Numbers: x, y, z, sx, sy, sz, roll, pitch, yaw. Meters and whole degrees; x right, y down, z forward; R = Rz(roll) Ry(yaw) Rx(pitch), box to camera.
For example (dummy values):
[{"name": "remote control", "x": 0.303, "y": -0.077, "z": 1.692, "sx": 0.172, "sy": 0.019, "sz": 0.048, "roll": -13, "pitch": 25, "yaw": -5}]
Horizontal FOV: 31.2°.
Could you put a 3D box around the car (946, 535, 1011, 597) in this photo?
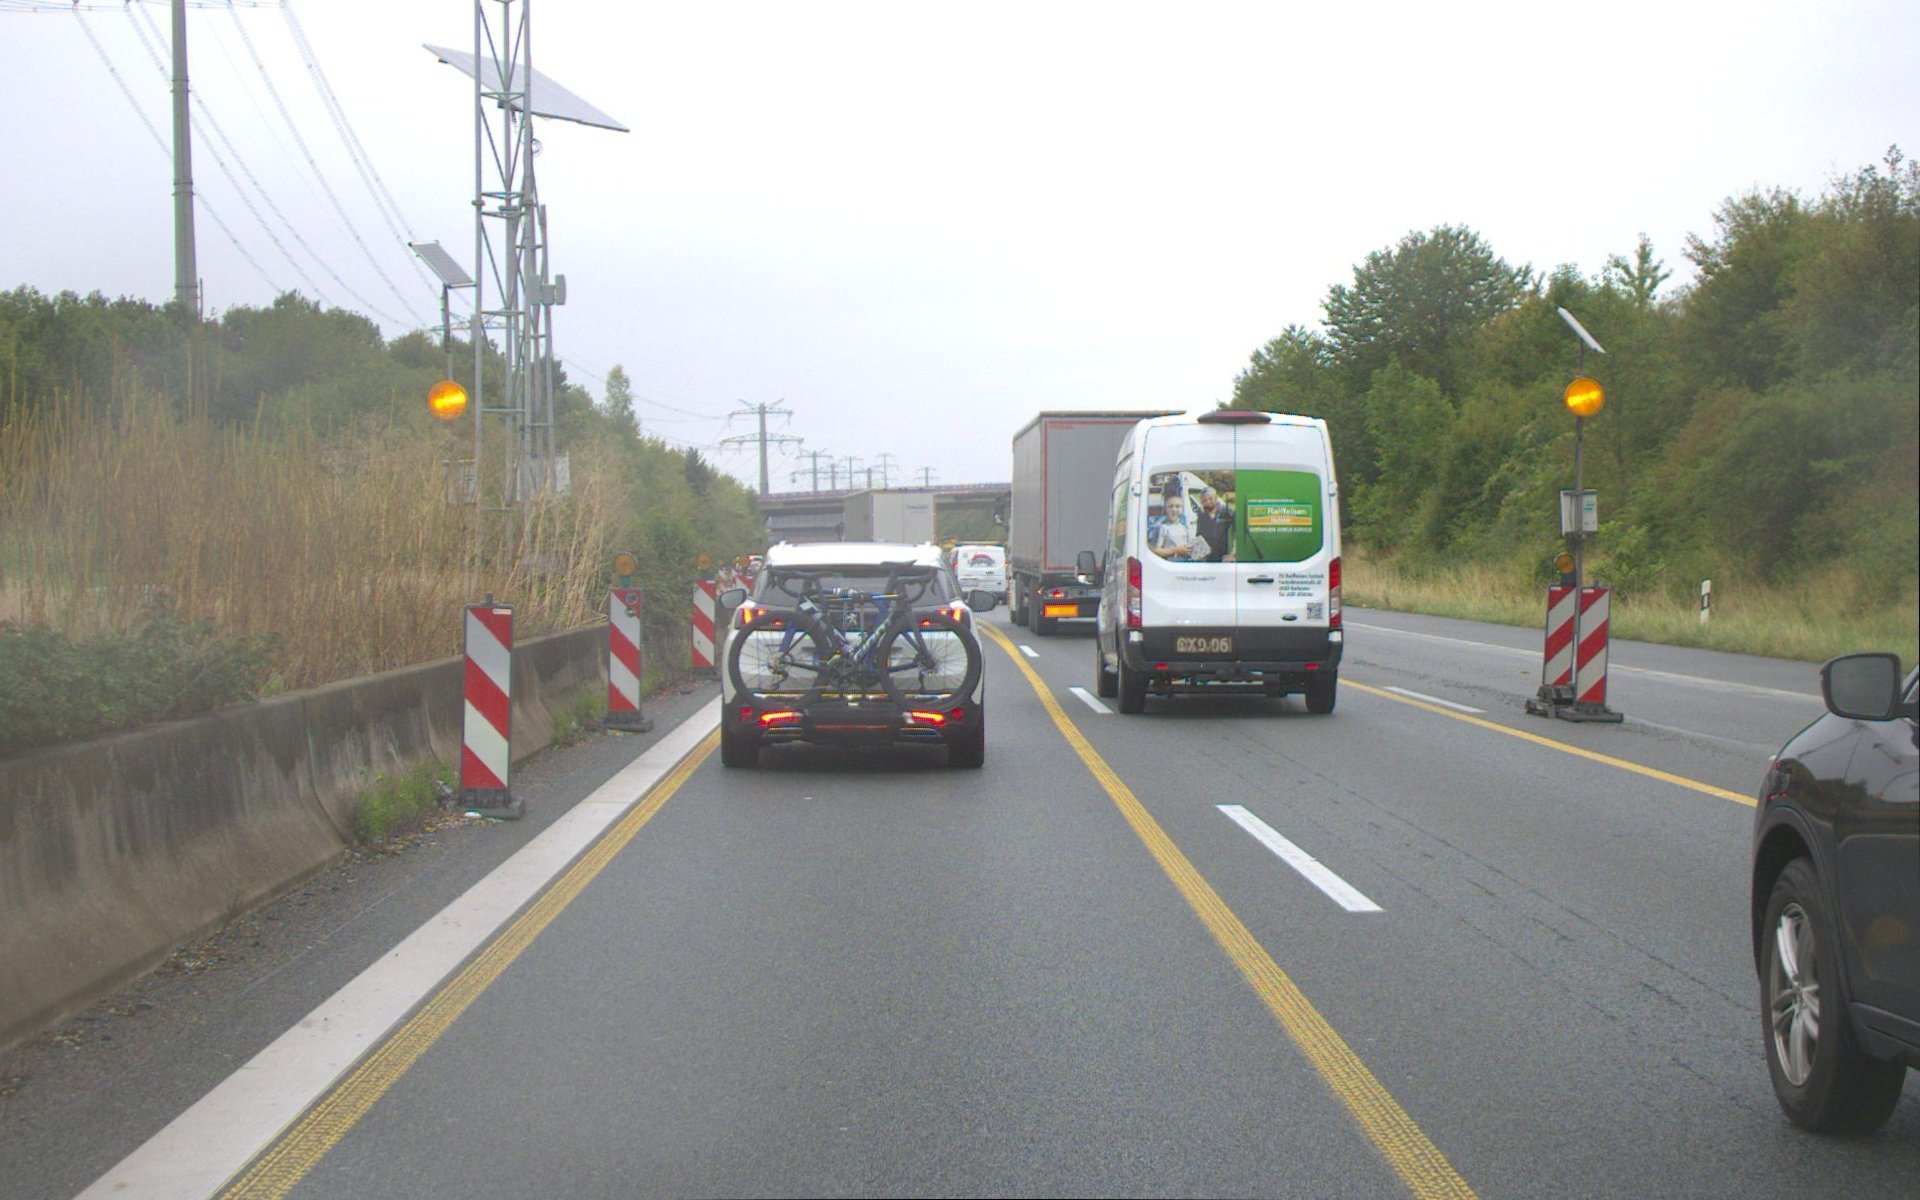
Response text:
[{"name": "car", "x": 0.547, "y": -1.042, "z": 103.620, "sx": 1.829, "sy": 1.833, "sz": 4.656, "roll": 0, "pitch": 1, "yaw": -1}]

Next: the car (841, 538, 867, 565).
[{"name": "car", "x": -8.112, "y": -3.713, "z": 262.513, "sx": 1.931, "sy": 1.966, "sz": 4.001, "roll": 0, "pitch": 2, "yaw": -1}]

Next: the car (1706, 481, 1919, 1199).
[{"name": "car", "x": 2.963, "y": 0.571, "z": 7.238, "sx": 1.684, "sy": 1.653, "sz": 4.281, "roll": 0, "pitch": 1, "yaw": -2}]

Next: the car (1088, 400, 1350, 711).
[{"name": "car", "x": 2.428, "y": -0.448, "z": 33.635, "sx": 1.993, "sy": 2.773, "sz": 5.757, "roll": 0, "pitch": 1, "yaw": -1}]

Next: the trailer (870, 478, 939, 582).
[{"name": "trailer", "x": -2.310, "y": -2.825, "z": 141.069, "sx": 2.692, "sy": 4.062, "sz": 13.634, "roll": 0, "pitch": 1, "yaw": -1}]

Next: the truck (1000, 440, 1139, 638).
[{"name": "truck", "x": 2.323, "y": -1.308, "z": 74.441, "sx": 2.706, "sy": 4.124, "sz": 5.691, "roll": 0, "pitch": 1, "yaw": -1}]

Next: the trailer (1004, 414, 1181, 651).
[{"name": "trailer", "x": 2.405, "y": -1.283, "z": 66.795, "sx": 2.706, "sy": 4.132, "sz": 13.733, "roll": 0, "pitch": 1, "yaw": -1}]

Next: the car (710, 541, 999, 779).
[{"name": "car", "x": -0.723, "y": 0.346, "z": 24.413, "sx": 1.850, "sy": 1.525, "sz": 4.769, "roll": 0, "pitch": 1, "yaw": -1}]
